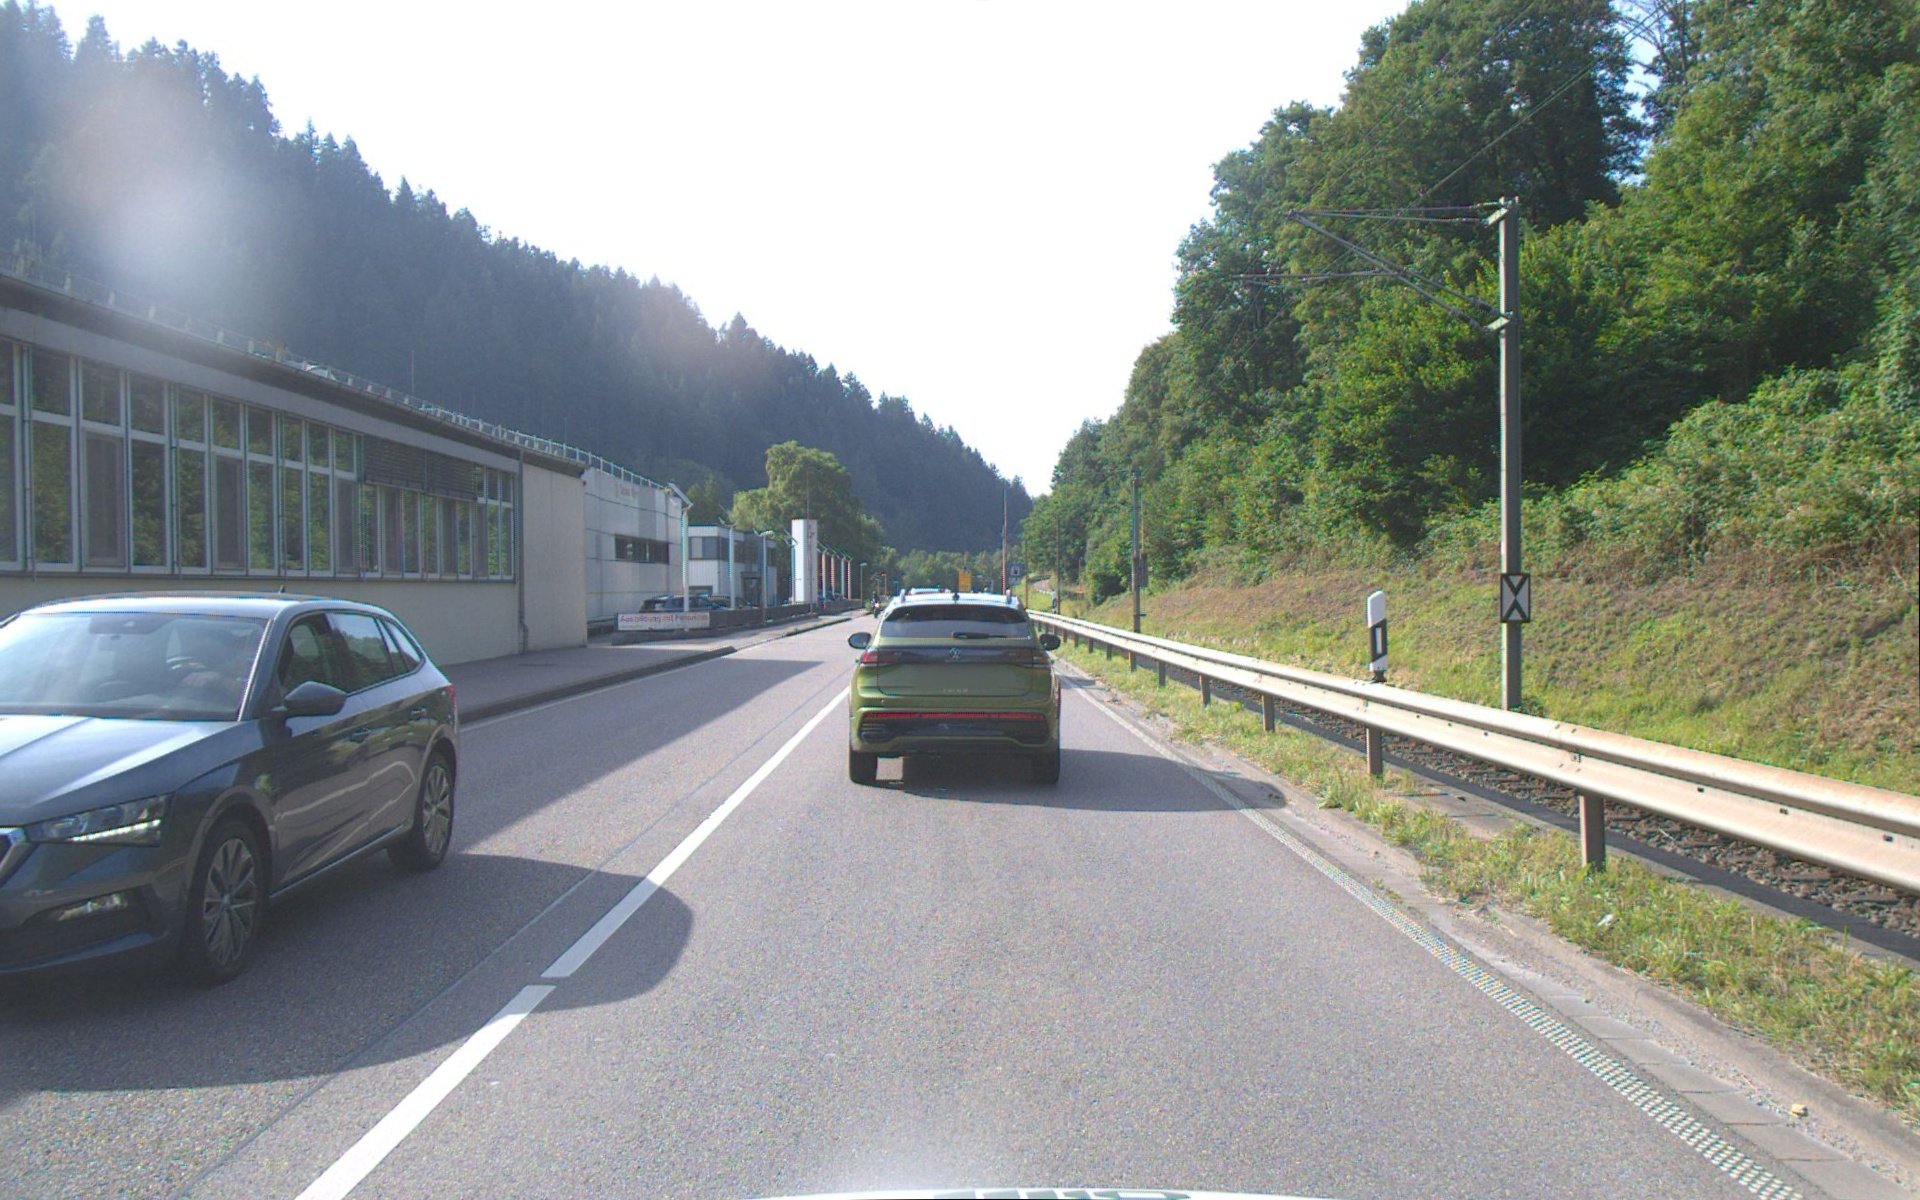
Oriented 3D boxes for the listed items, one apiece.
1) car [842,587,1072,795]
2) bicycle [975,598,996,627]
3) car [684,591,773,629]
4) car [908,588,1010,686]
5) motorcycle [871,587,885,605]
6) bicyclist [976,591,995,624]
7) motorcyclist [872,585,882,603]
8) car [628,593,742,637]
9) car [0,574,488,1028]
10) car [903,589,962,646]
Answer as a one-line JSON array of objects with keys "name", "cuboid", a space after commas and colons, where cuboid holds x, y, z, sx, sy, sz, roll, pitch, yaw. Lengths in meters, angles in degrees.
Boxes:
[{"name": "car", "cuboid": [-0.071, 0.669, 14.262, 1.704, 1.534, 3.999, 0, 0, -2]}, {"name": "bicycle", "cuboid": [1.090, 0.544, 72.521, 0.795, 1.272, 2.121, 0, 0, -3]}, {"name": "car", "cuboid": [-10.965, 0.445, 78.570, 1.749, 1.738, 4.088, 0, 0, 41]}, {"name": "car", "cuboid": [-0.065, 0.611, 29.777, 1.704, 1.630, 3.999, 0, 0, -2]}, {"name": "motorcycle", "cuboid": [-5.015, -0.249, 101.011, 0.726, 1.087, 2.492, 0, 0, -1]}, {"name": "bicyclist", "cuboid": [1.105, 0.314, 72.254, 0.766, 1.436, 0.675, 0, 0, -3]}, {"name": "motorcyclist", "cuboid": [-5.081, -0.368, 100.957, 0.574, 1.144, 0.636, 0, 0, -1]}, {"name": "car", "cuboid": [-10.511, 0.545, 63.412, 1.854, 1.619, 4.152, 0, 0, 41]}, {"name": "car", "cuboid": [-3.603, 0.657, 7.582, 1.737, 1.516, 4.051, 1, 0, -1]}, {"name": "car", "cuboid": [-0.842, 0.503, 49.617, 1.704, 1.630, 3.999, 0, 0, -2]}]
